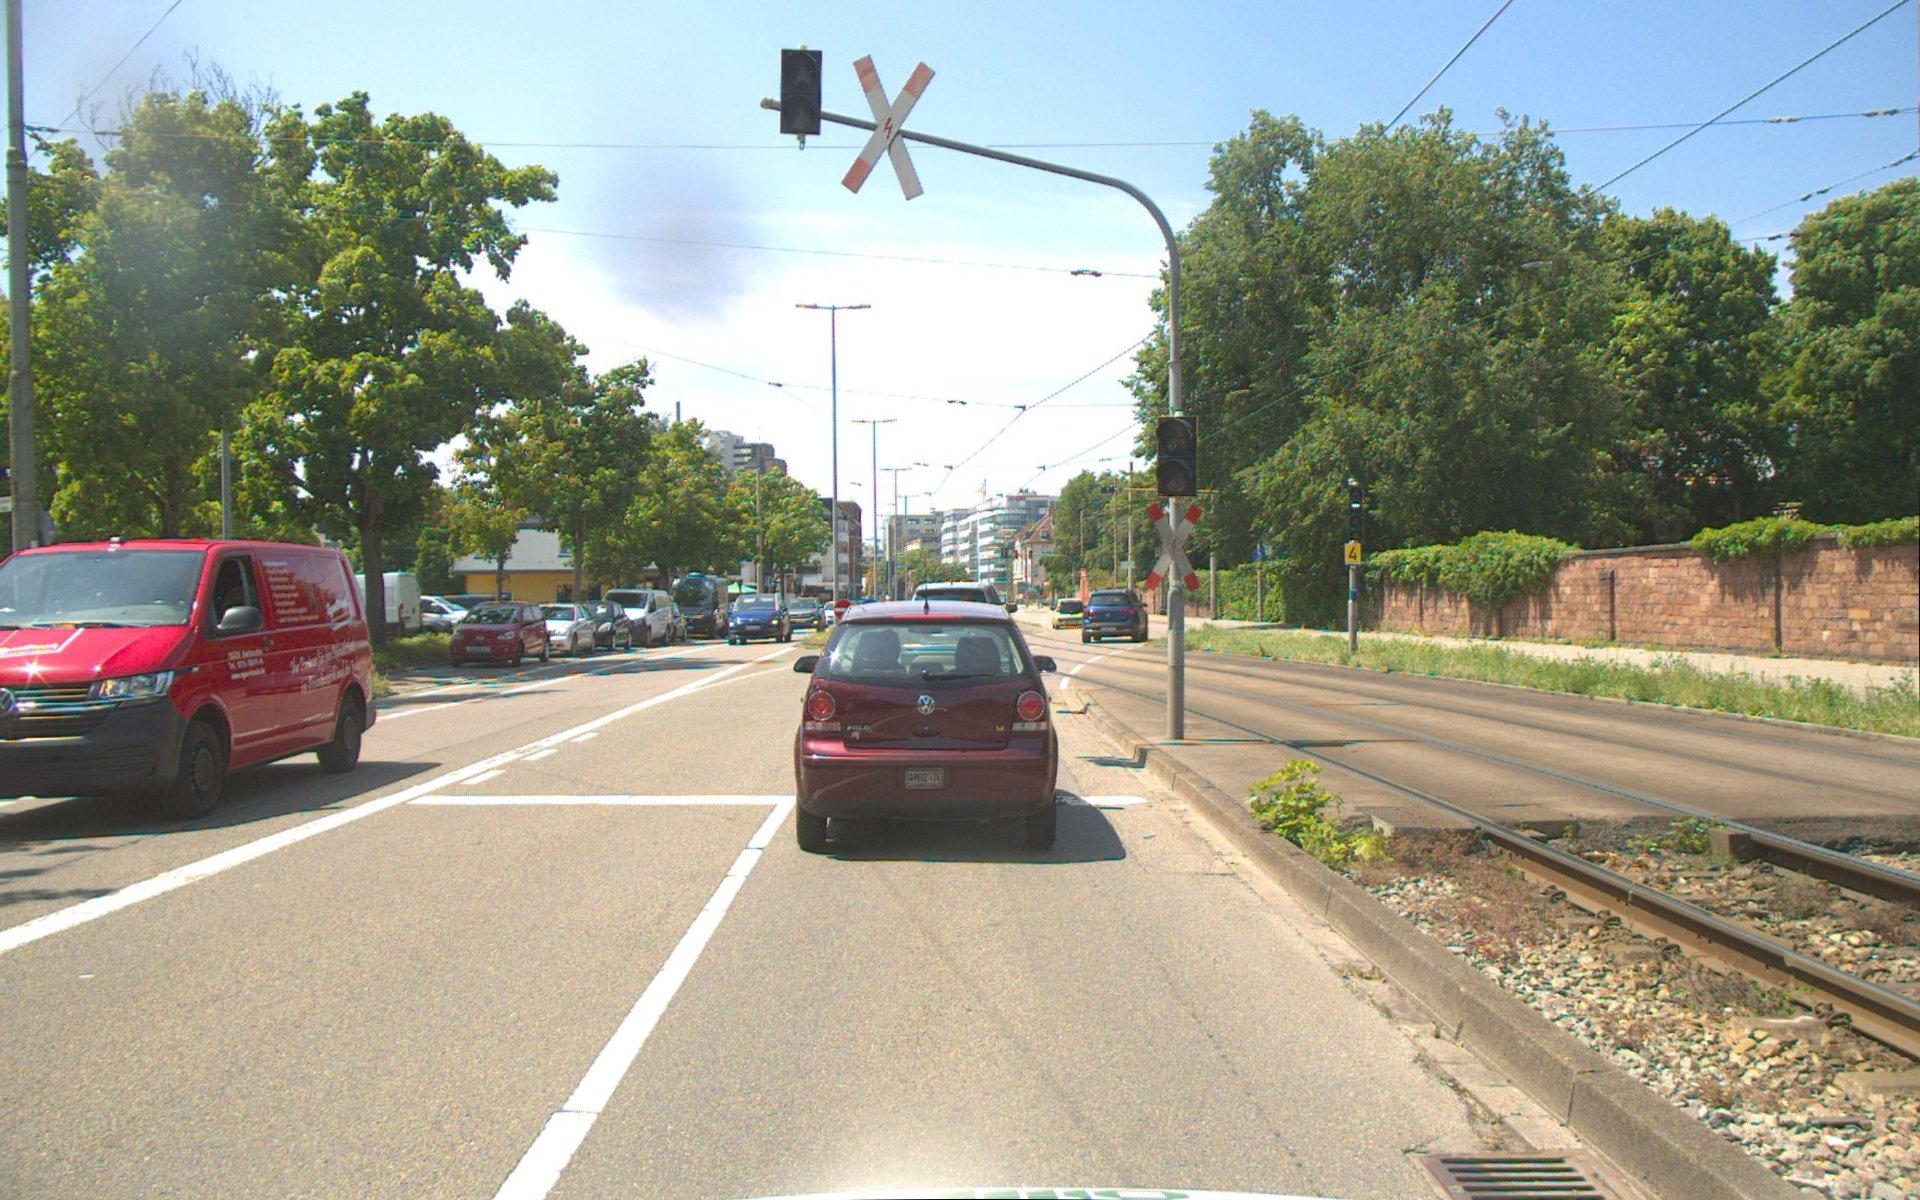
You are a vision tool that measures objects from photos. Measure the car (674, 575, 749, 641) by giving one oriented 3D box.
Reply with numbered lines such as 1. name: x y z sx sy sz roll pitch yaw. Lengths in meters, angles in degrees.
1. car: -10.909 0.319 73.074 2.350 2.703 6.171 2 0 -1

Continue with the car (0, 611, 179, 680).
1. car: -21.393 1.085 40.038 4.037 1.535 1.932 -1 0 1

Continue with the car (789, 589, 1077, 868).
1. car: -0.156 0.728 11.349 1.577 1.524 4.000 -2 0 0

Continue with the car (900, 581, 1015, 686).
1. car: 0.026 0.536 29.066 1.757 1.712 4.002 0 0 3

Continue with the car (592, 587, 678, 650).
1. car: -11.067 0.607 56.662 1.824 1.971 4.806 2 0 1

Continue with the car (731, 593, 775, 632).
1. car: -11.525 0.668 92.407 1.837 1.999 5.163 2 0 -1

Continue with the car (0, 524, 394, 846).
1. car: -6.026 0.534 12.650 1.861 1.959 4.817 -2 0 -3

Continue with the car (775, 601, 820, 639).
1. car: -7.229 0.864 73.845 1.702 1.603 3.712 -2 0 -1

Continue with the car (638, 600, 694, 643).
1. car: -10.918 0.783 61.560 1.376 1.465 3.839 2 0 -1

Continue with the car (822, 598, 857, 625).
1. car: -6.635 0.621 91.433 1.615 1.400 3.810 -3 0 -1

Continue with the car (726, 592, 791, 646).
1. car: -6.747 0.607 55.668 1.702 1.685 4.065 -2 0 -1

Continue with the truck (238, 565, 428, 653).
1. truck: -21.240 0.288 56.192 5.464 2.808 2.432 -1 0 0

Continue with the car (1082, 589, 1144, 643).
1. car: 4.940 0.477 52.997 1.736 1.659 4.003 0 0 8

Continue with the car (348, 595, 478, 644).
1. car: -22.018 0.771 66.667 4.624 1.845 1.796 -1 0 -3

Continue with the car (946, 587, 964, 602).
1. car: -0.663 -0.711 223.123 1.881 1.944 4.565 -1 0 -6

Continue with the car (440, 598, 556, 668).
1. car: -10.936 0.765 39.377 1.637 1.573 3.727 0 0 1

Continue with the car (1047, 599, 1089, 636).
1. car: 5.198 0.817 80.147 1.758 1.712 3.999 0 0 -1

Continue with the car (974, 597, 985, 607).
1. car: 2.566 0.304 214.447 1.326 1.274 2.972 0 0 -1

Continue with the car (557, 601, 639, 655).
1. car: -11.165 0.836 51.263 1.581 1.510 3.785 2 0 1

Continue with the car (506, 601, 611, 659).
1. car: -11.166 0.801 46.320 1.683 1.452 4.771 -2 0 0

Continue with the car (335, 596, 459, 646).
1. car: -21.788 0.801 64.098 4.125 1.796 1.856 -1 0 -3

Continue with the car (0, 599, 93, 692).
1. car: -20.626 0.957 34.496 4.178 1.867 1.673 -1 0 1
